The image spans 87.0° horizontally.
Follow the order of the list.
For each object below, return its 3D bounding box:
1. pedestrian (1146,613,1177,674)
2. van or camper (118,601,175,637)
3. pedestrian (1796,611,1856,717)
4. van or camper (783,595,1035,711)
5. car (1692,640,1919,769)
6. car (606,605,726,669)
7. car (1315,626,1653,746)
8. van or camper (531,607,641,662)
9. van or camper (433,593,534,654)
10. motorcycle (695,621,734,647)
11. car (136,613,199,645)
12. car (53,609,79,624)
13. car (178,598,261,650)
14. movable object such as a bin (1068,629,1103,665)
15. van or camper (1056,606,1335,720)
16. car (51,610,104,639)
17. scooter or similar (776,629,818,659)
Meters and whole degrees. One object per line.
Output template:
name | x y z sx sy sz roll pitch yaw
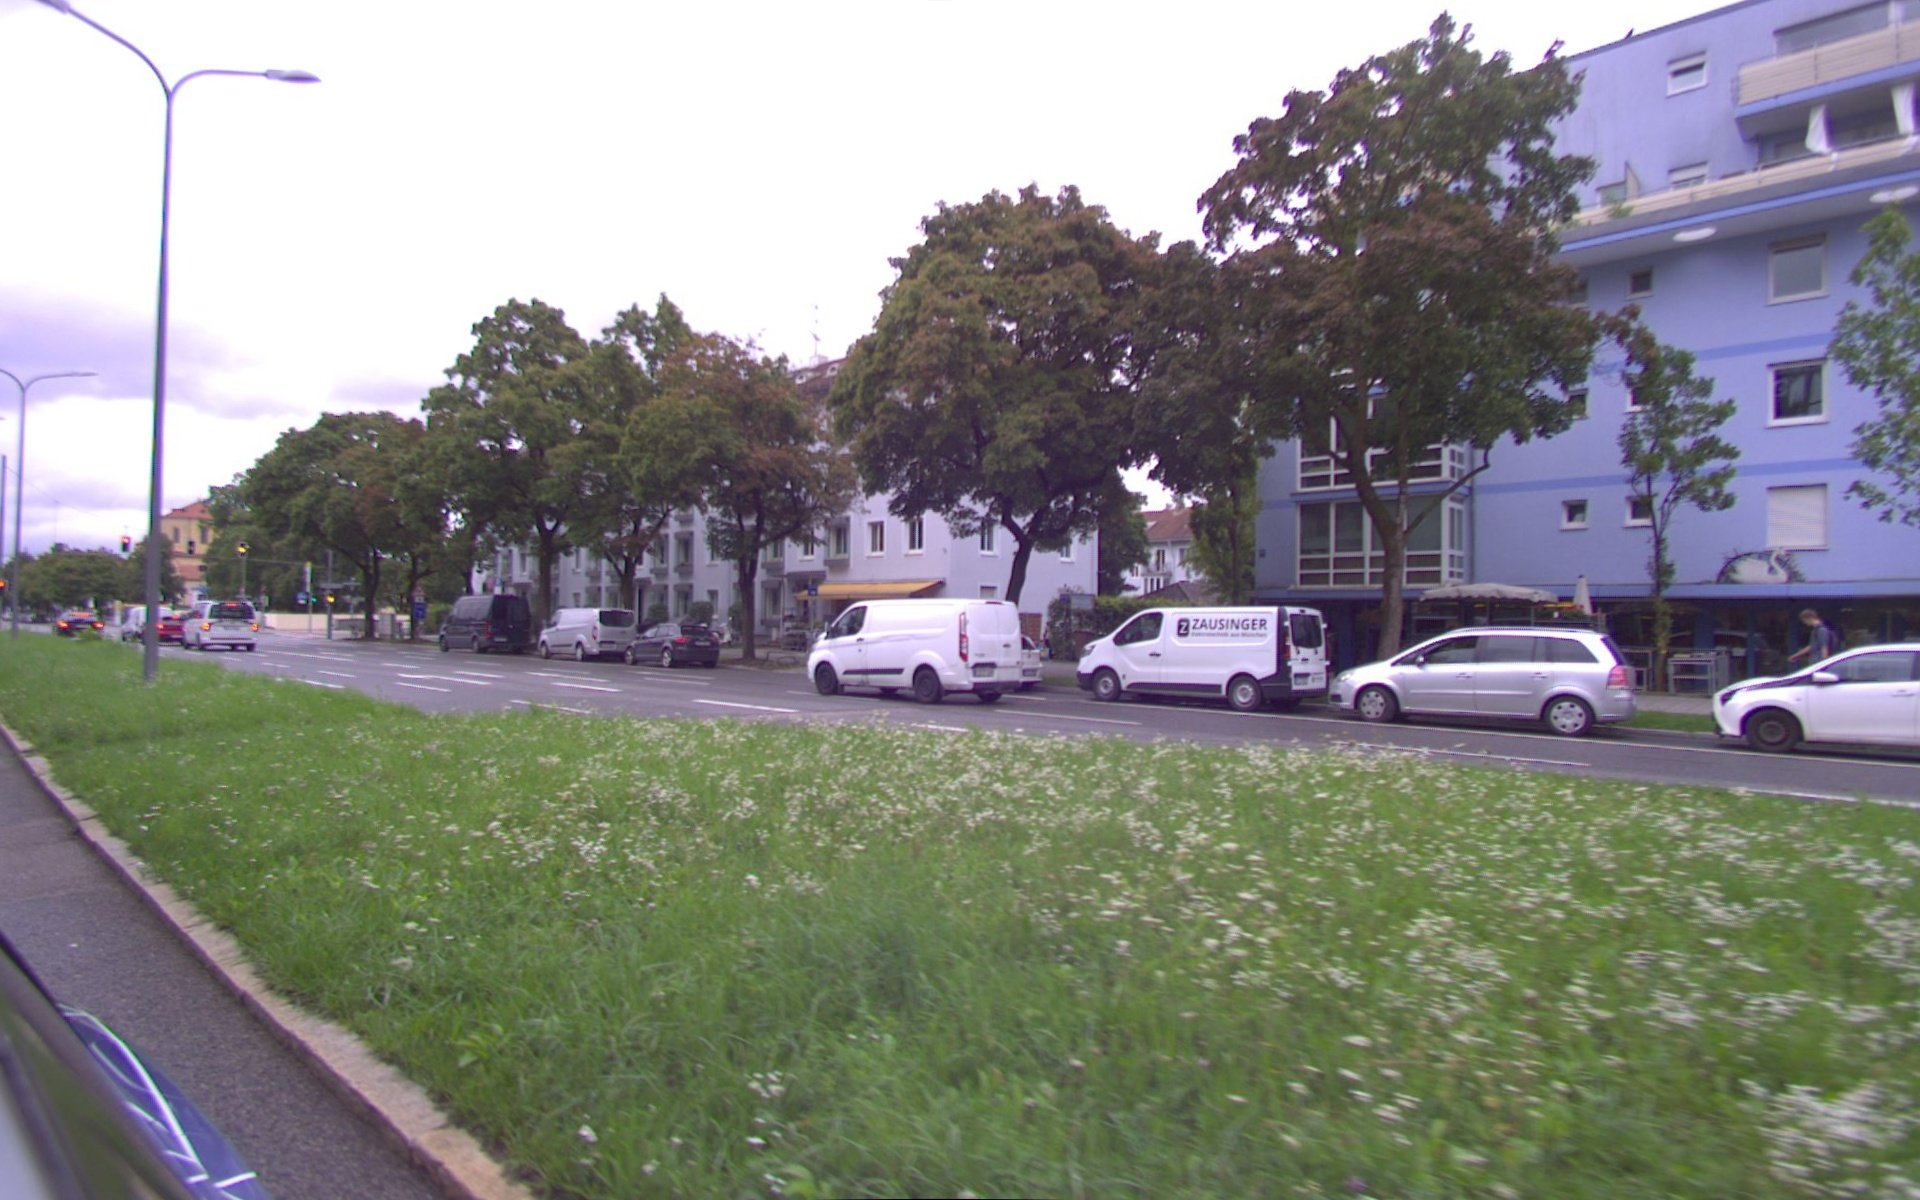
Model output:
pedestrian | 5.572 1.197 27.960 0.633 1.658 0.533 -1 -2 40
van or camper | -42.789 1.022 53.222 4.126 1.811 1.771 -1 -2 44
pedestrian | 15.297 1.112 17.880 0.779 1.819 0.635 -1 -2 41
van or camper | -1.149 0.972 20.258 5.199 2.031 1.993 -1 -2 43
car | 11.858 1.307 12.951 3.901 1.500 1.630 0 -2 42
car | -9.861 1.203 33.788 4.547 2.013 1.776 -1 -2 44
car | 8.310 1.269 16.269 4.654 1.628 1.684 0 -2 36
van or camper | -14.118 1.259 38.071 4.705 1.957 1.998 -1 -2 44
van or camper | -21.047 1.025 44.592 5.548 2.506 2.027 0 -2 42
motorcycle | -11.259 1.571 46.452 0.463 1.179 1.791 0 -2 38
car | -36.996 1.344 47.230 3.673 1.459 1.771 -1 -2 44
car | -117.378 2.138 132.857 3.999 1.904 2.117 0 -2 42
car | -30.072 0.966 41.047 4.705 2.013 1.918 -1 -2 44
movable object such as a bin | 4.131 1.544 33.271 0.765 1.128 0.967 0 -2 38
van or camper | 4.516 1.132 20.052 5.211 1.983 1.785 -1 -2 43
car | -45.972 1.286 52.702 3.673 1.459 1.737 -1 -2 44
scooter or similar | -5.933 1.597 36.865 0.567 1.021 1.782 0 0 28
